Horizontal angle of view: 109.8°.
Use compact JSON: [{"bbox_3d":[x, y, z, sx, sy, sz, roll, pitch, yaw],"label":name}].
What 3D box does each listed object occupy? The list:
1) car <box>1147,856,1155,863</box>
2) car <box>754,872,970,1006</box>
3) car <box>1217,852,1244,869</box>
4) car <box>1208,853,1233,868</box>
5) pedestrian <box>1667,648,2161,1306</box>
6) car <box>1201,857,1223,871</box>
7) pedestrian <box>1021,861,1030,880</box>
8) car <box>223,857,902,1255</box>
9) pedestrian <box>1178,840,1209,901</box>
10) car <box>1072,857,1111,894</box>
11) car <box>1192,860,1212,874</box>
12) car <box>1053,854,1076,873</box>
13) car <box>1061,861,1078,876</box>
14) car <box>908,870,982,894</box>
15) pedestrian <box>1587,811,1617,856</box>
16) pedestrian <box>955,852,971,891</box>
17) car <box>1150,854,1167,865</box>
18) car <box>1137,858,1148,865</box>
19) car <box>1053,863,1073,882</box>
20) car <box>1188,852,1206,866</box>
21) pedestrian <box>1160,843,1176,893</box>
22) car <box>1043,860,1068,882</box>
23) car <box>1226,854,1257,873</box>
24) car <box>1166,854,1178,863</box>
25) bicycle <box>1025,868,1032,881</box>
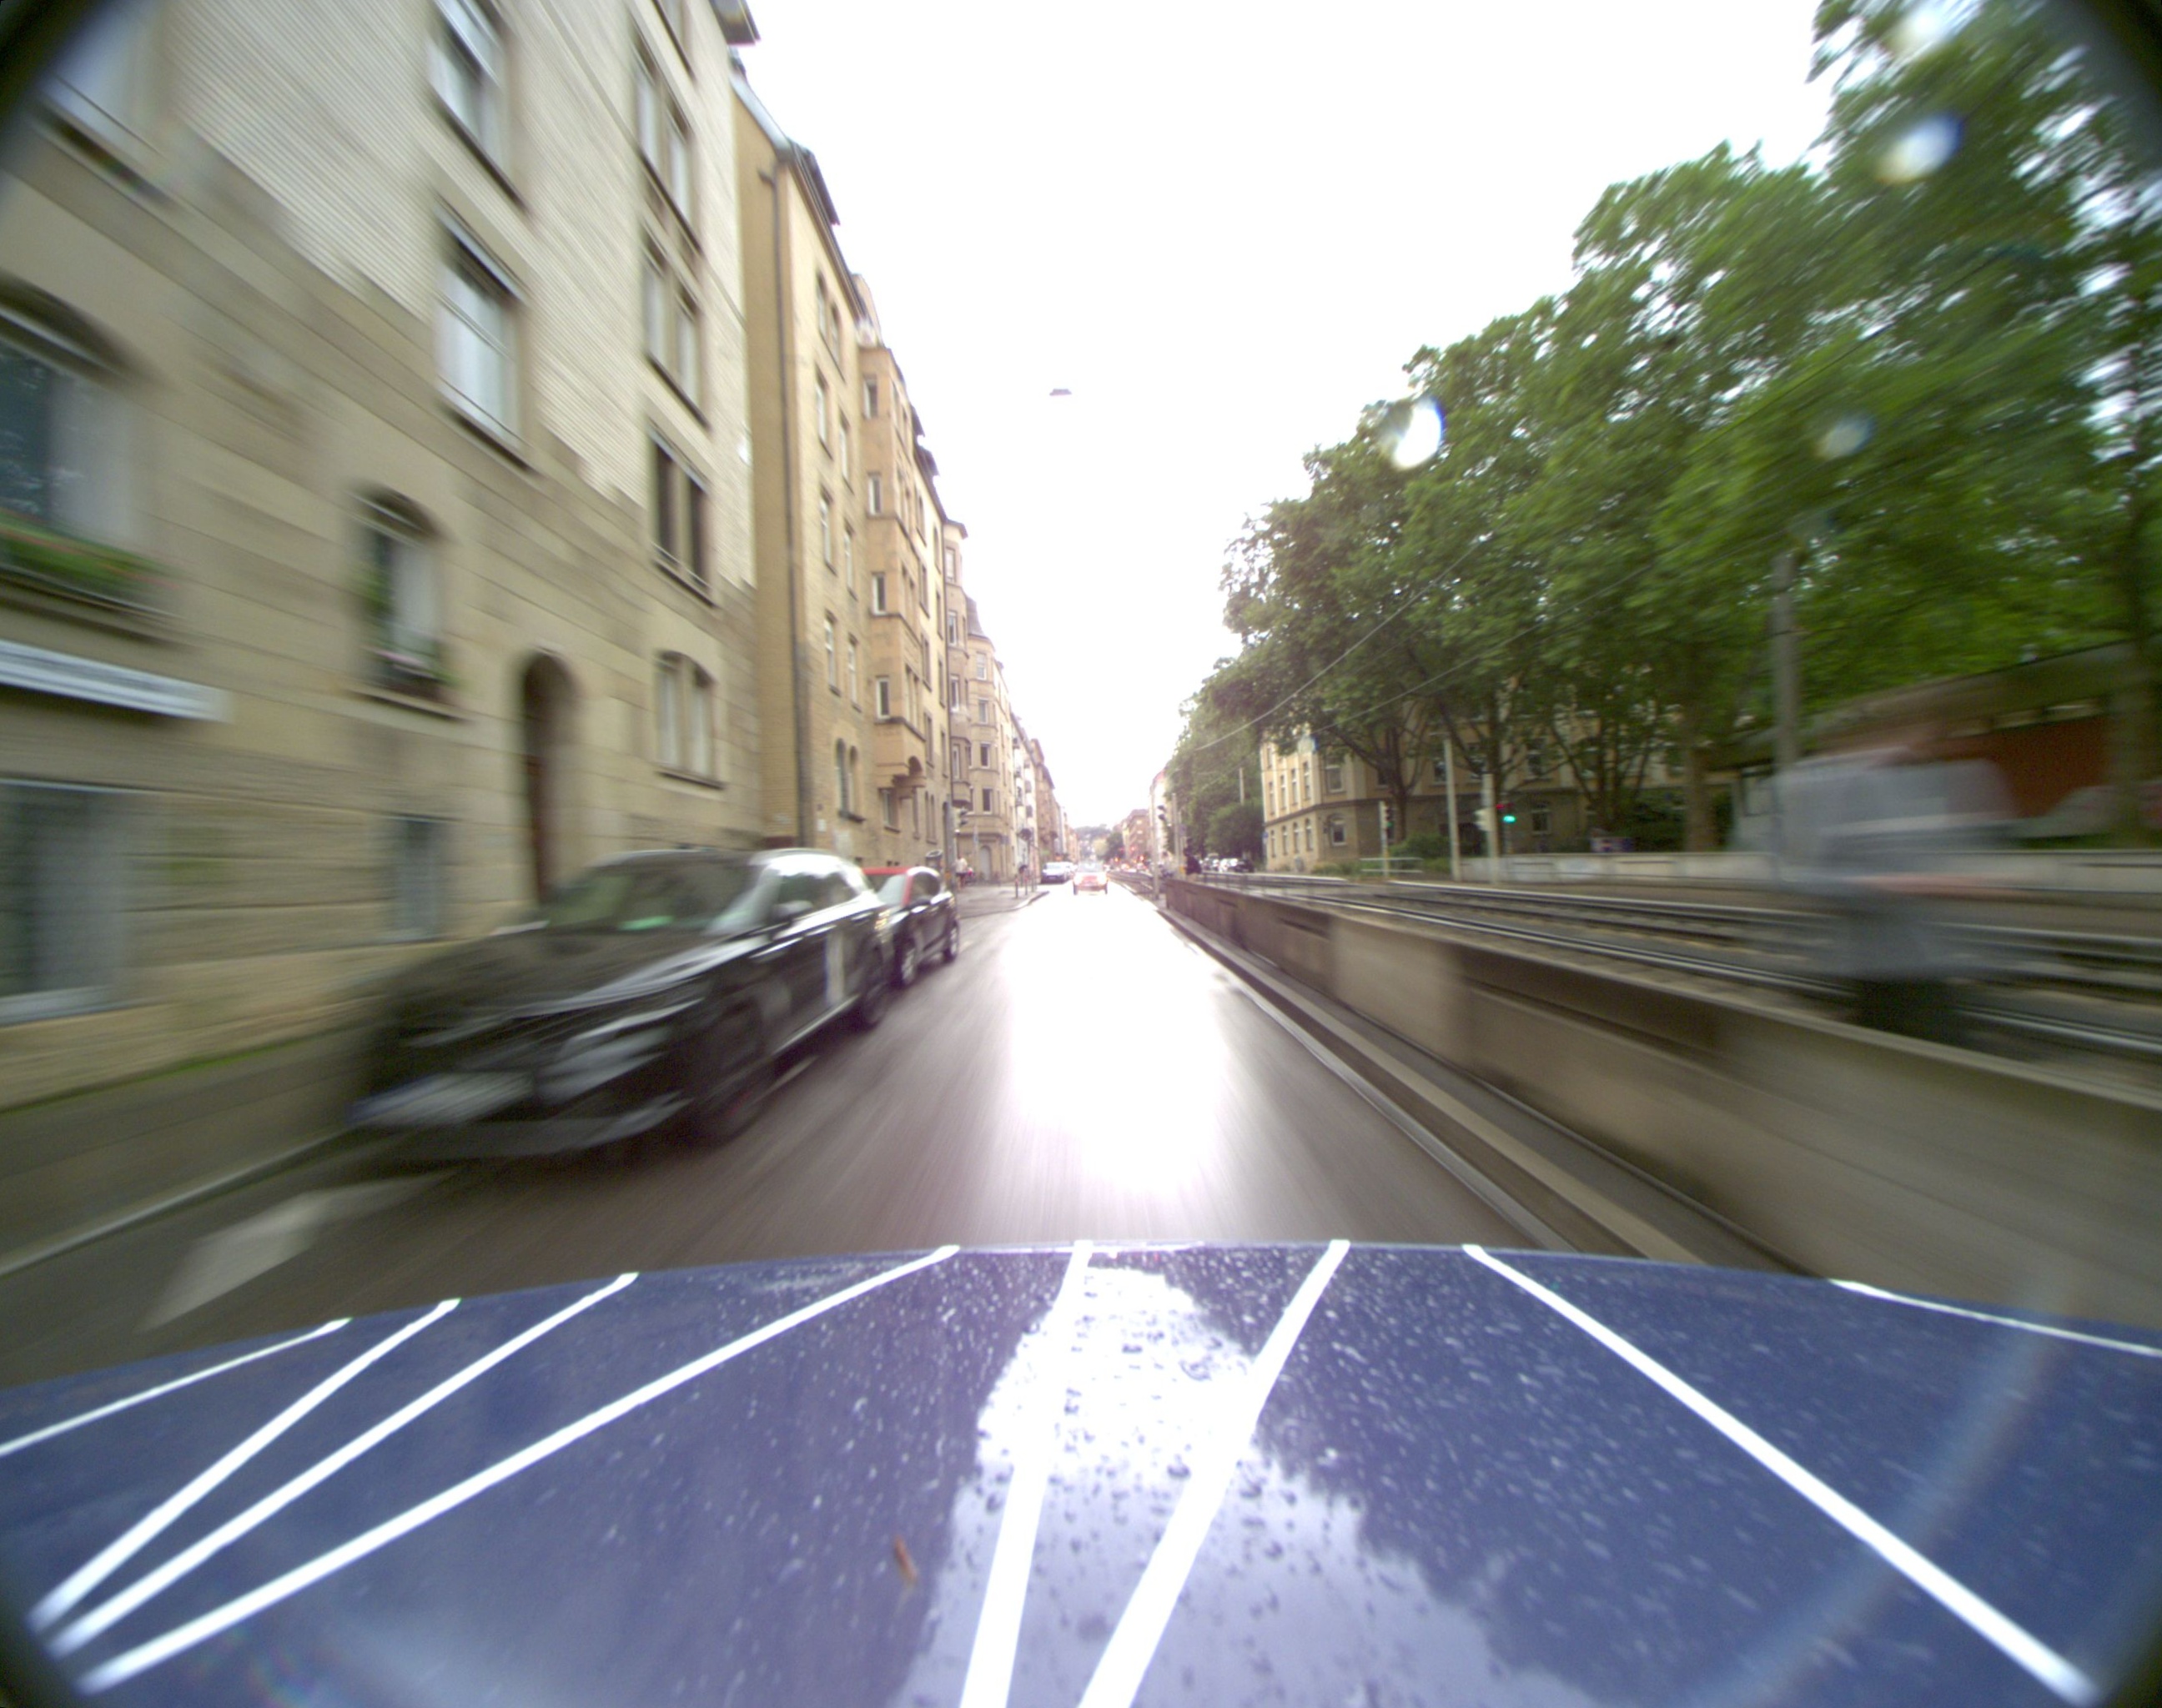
[{"bbox_3d":[13.731,1.092,148.999,1.326,1.159,2.910,-2,-1,-1],"label":"car"},{"bbox_3d":[-2.803,1.030,10.592,1.665,1.443,3.611,-3,-1,5],"label":"car"},{"bbox_3d":[13.475,0.604,68.549,1.646,1.392,3.517,-2,-1,-1],"label":"car"},{"bbox_3d":[13.438,0.638,73.361,1.646,1.392,3.517,-2,-1,-1],"label":"car"},{"bbox_3d":[2.703,0.343,2.499,0.861,1.788,0.787,-3,0,0],"label":"pedestrian"},{"bbox_3d":[13.456,1.055,78.220,1.484,1.392,3.282,-2,-1,-2],"label":"car"},{"bbox_3d":[-4.145,1.229,56.454,0.510,1.362,0.404,-1,0,-25],"label":"pedestrian"},{"bbox_3d":[-2.832,0.923,5.607,1.770,1.698,4.500,-2,-1,2],"label":"car"},{"bbox_3d":[3.256,0.472,22.020,0.651,1.694,0.662,-3,0,24],"label":"pedestrian"},{"bbox_3d":[0.441,1.006,35.178,1.620,1.592,4.067,-2,-2,-1],"label":"car"},{"bbox_3d":[13.180,1.405,83.095,1.484,1.440,3.500,-2,-1,-2],"label":"car"},{"bbox_3d":[-1.403,0.852,66.017,1.745,1.507,4.001,-2,-1,1],"label":"car"},{"bbox_3d":[-1.306,1.641,85.180,1.745,1.649,4.001,-2,-1,1],"label":"car"},{"bbox_3d":[-8.938,1.878,50.179,4.506,1.490,1.780,-1,-3,3],"label":"car"},{"bbox_3d":[21.515,-0.835,31.381,0.869,1.788,0.863,-3,0,29],"label":"pedestrian"},{"bbox_3d":[-5.299,0.786,34.137,0.580,1.741,0.574,-1,-1,1],"label":"pedestrian"},{"bbox_3d":[10.936,0.785,107.328,1.687,1.468,3.312,-3,0,-4],"label":"car"},{"bbox_3d":[11.383,1.393,141.145,1.572,1.159,2.910,-2,-1,-2],"label":"car"},{"bbox_3d":[-1.794,1.864,76.957,1.745,1.729,4.001,-2,-1,1],"label":"car"},{"bbox_3d":[13.467,0.574,88.281,1.402,1.499,3.314,-2,-1,-2],"label":"car"},{"bbox_3d":[2.929,0.475,25.591,0.481,1.629,0.434,-3,-1,6],"label":"pedestrian"},{"bbox_3d":[-1.911,1.314,58.949,1.745,1.576,4.001,-2,-1,0],"label":"car"},{"bbox_3d":[13.501,0.764,64.068,1.892,1.468,3.807,-3,0,2],"label":"car"},{"bbox_3d":[13.753,0.686,115.312,1.326,1.159,2.910,-2,-1,-1],"label":"car"},{"bbox_3d":[-3.913,1.514,56.400,0.339,1.008,1.676,0,-1,2],"label":"bicycle"}]
